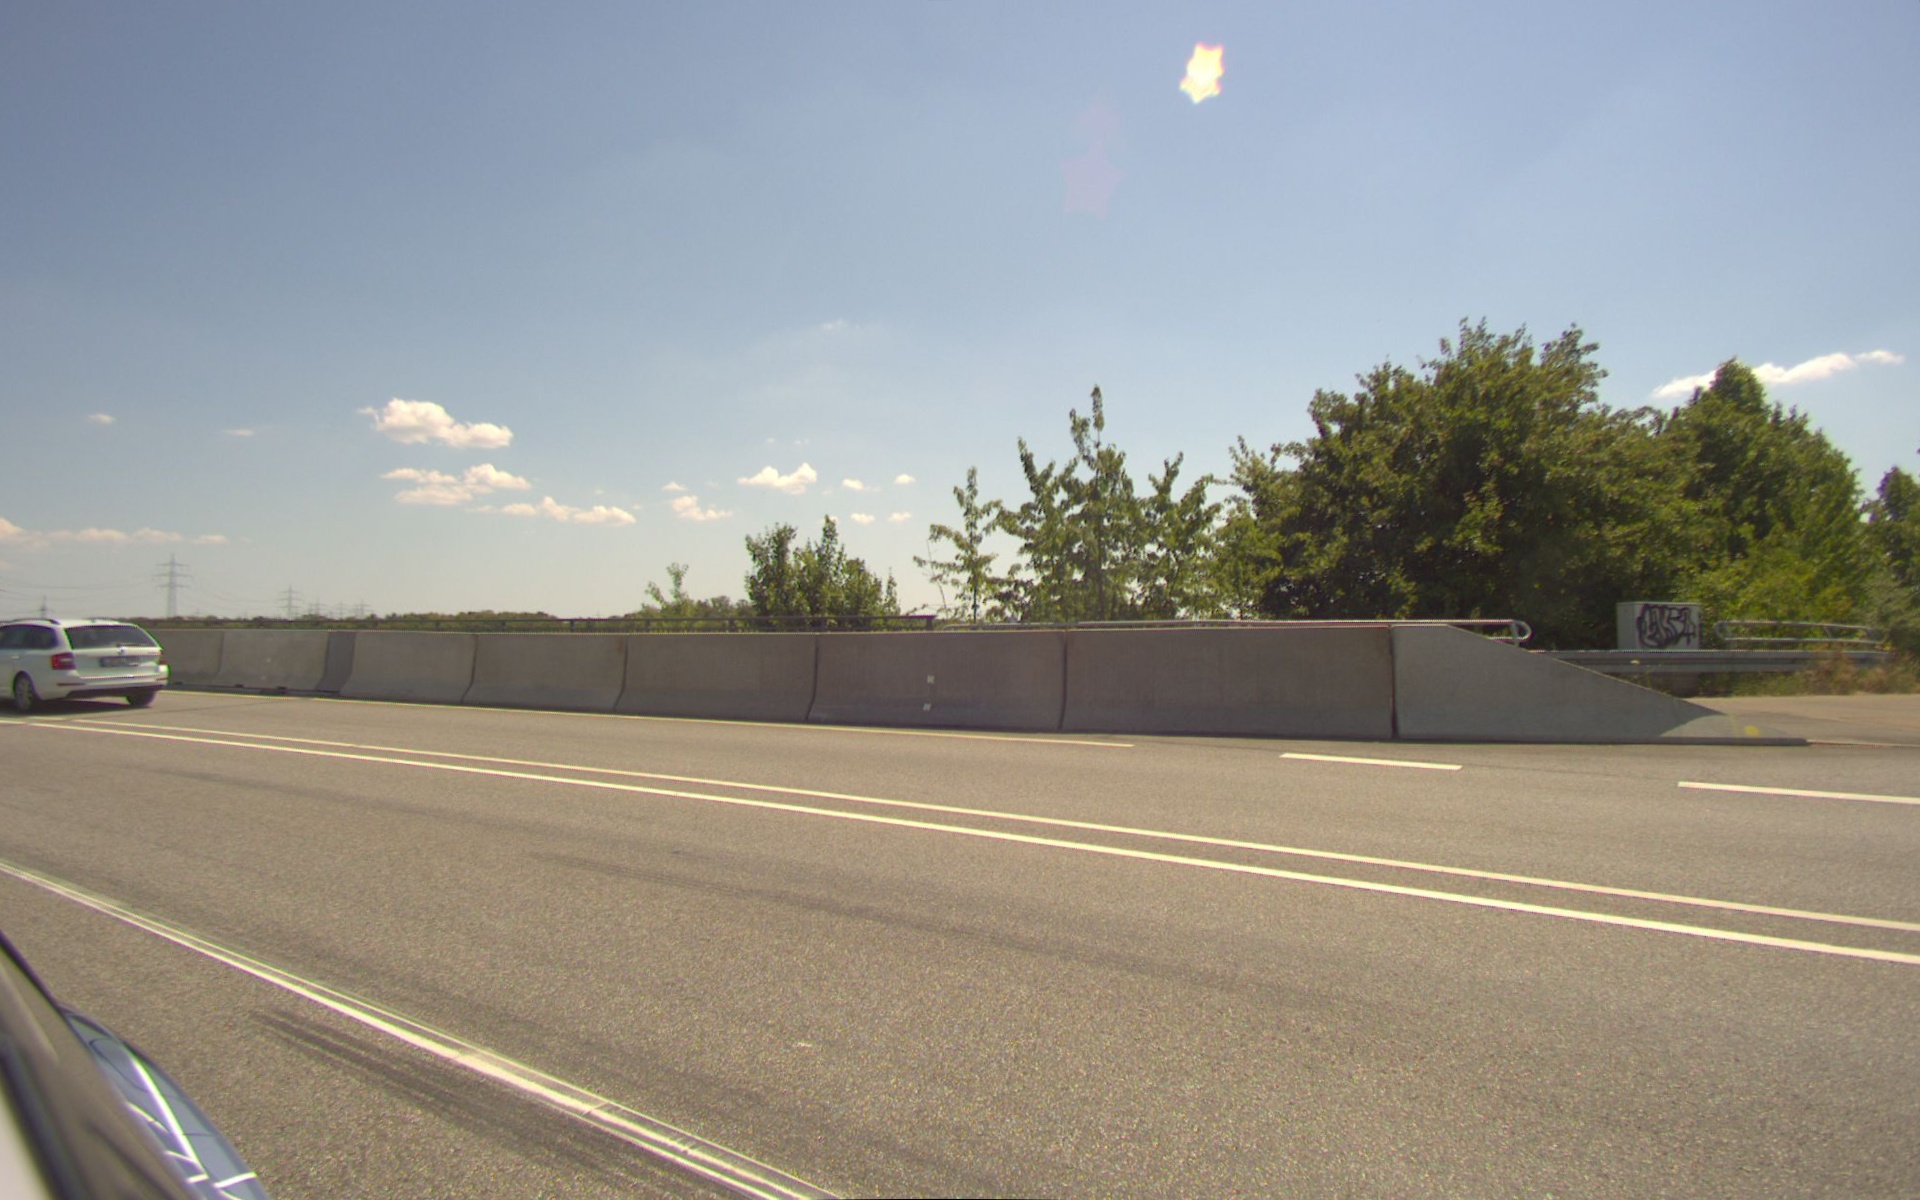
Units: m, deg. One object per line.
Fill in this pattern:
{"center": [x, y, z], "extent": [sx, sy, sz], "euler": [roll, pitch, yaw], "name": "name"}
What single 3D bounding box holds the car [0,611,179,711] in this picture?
{"center": [-15.396, 0.980, 16.989], "extent": [4.526, 1.506, 1.778], "euler": [-1, -2, 25], "name": "car"}
